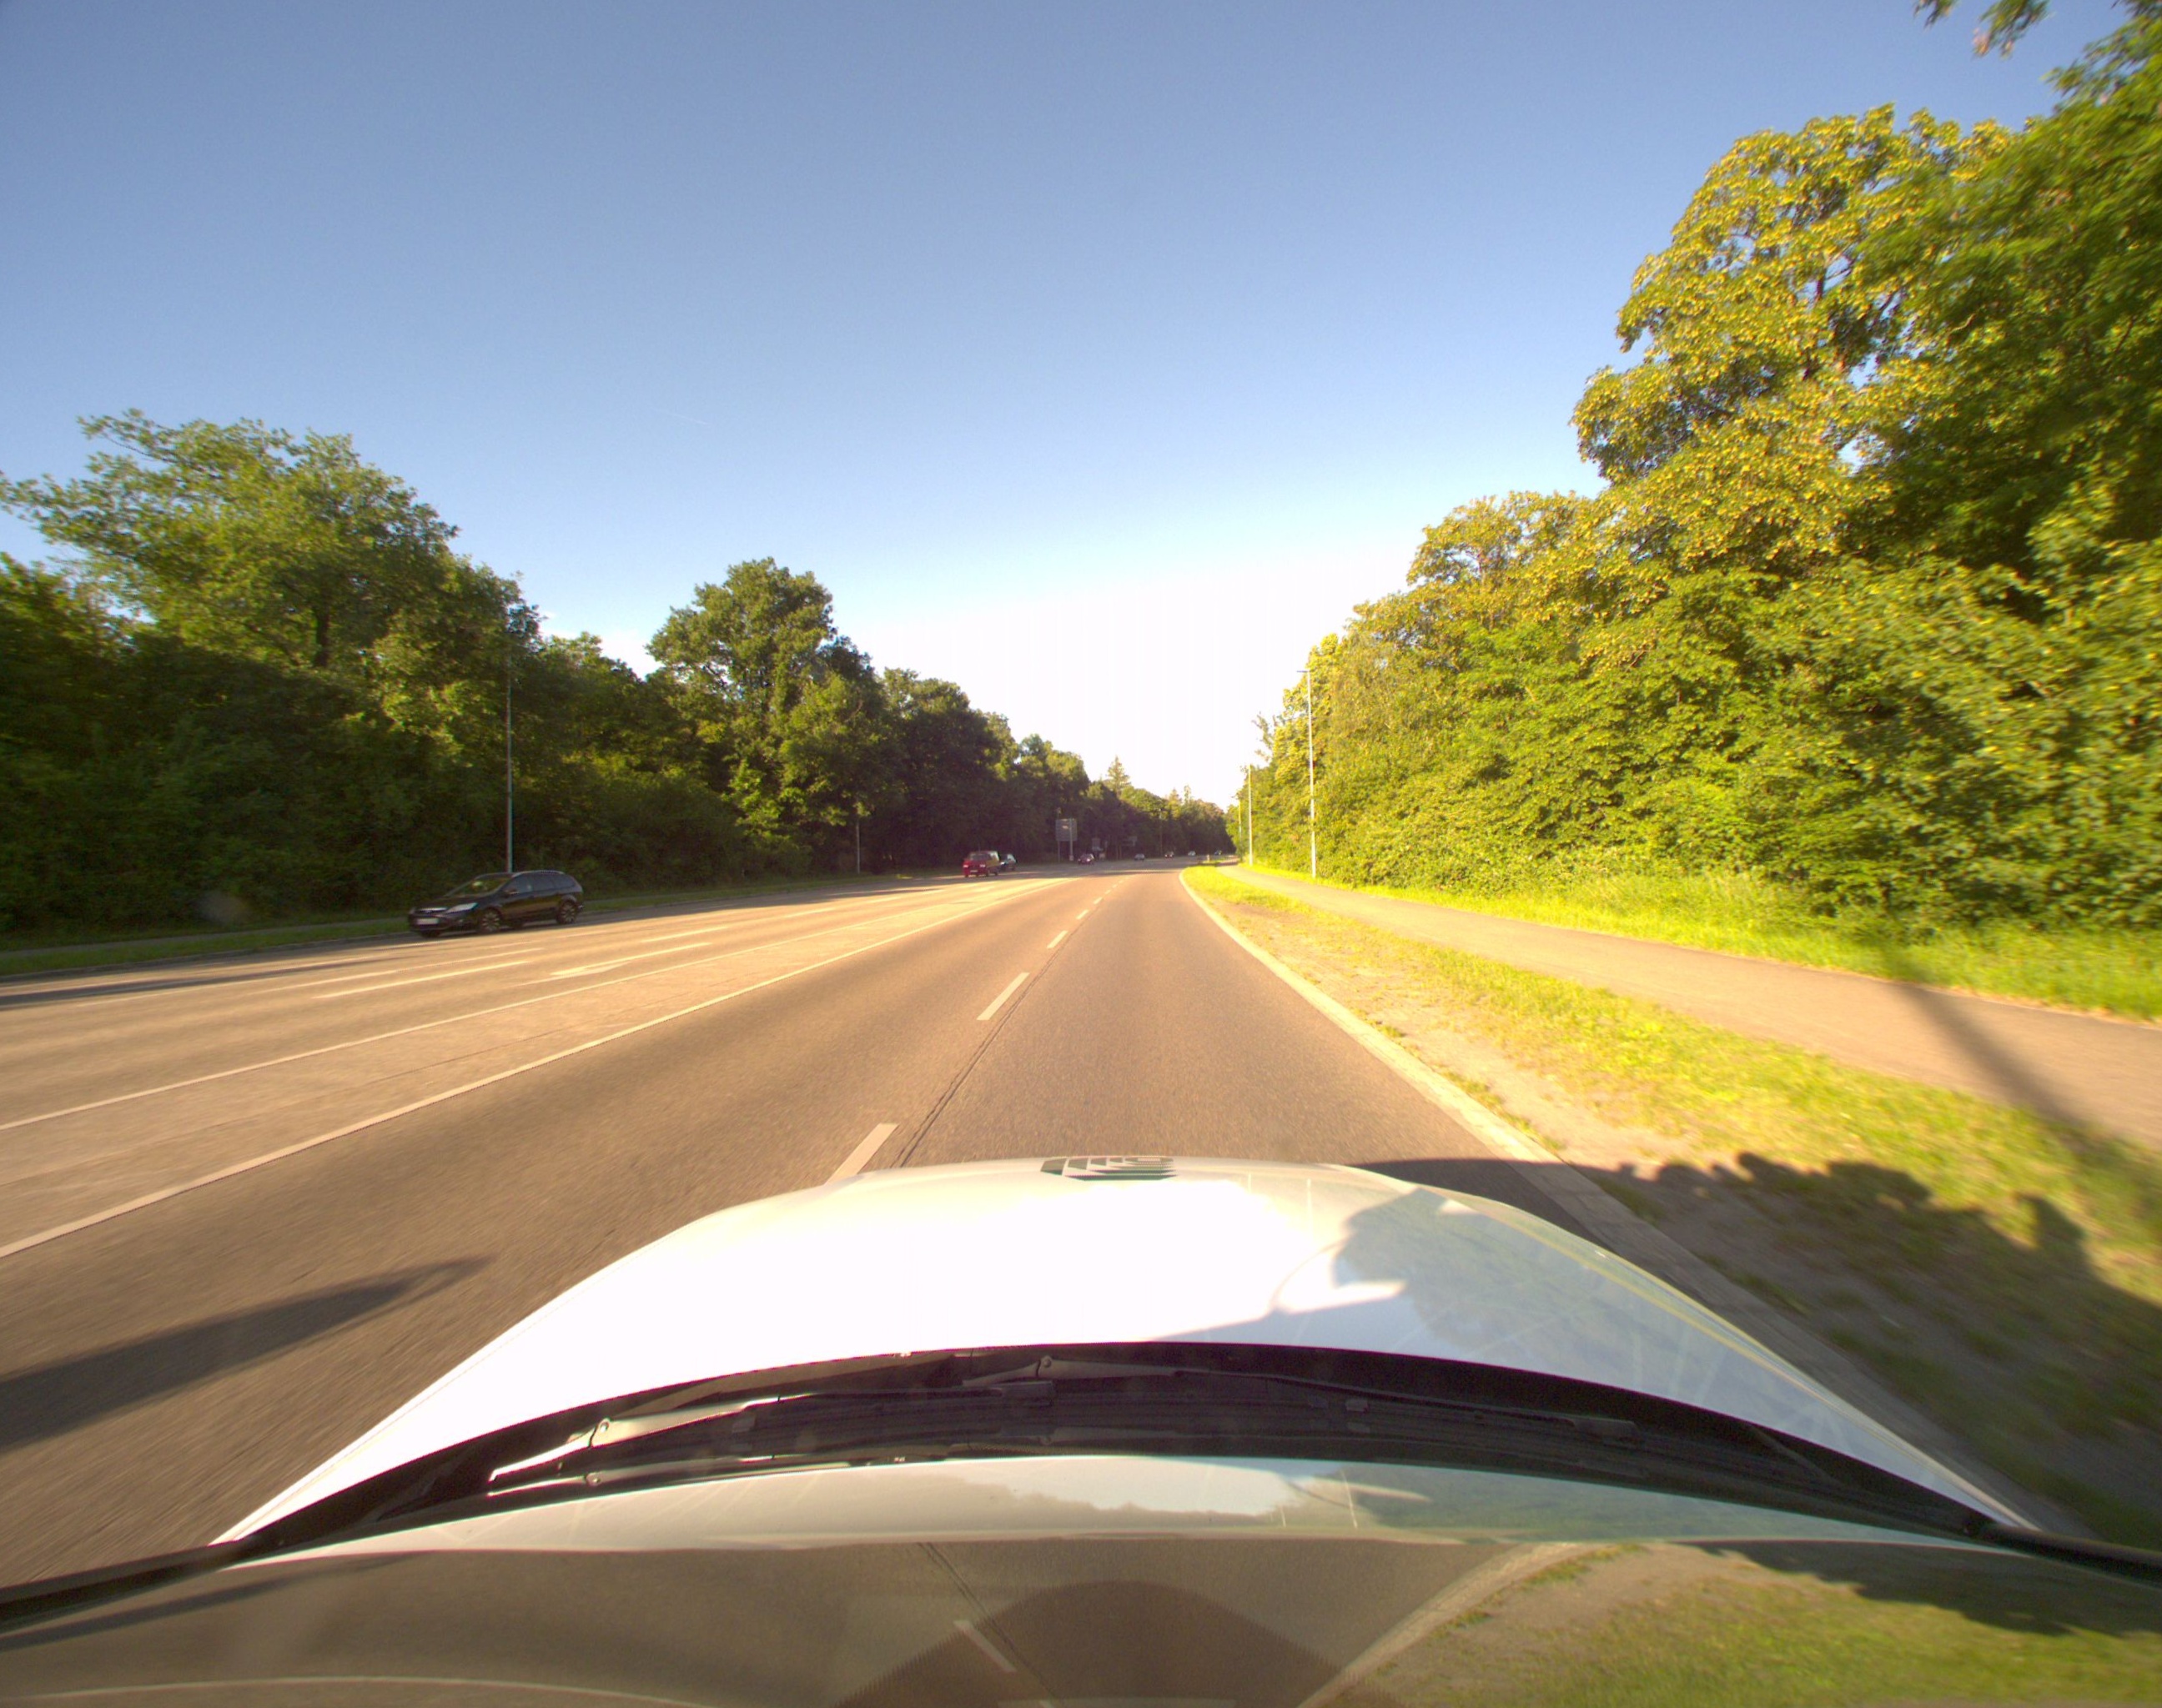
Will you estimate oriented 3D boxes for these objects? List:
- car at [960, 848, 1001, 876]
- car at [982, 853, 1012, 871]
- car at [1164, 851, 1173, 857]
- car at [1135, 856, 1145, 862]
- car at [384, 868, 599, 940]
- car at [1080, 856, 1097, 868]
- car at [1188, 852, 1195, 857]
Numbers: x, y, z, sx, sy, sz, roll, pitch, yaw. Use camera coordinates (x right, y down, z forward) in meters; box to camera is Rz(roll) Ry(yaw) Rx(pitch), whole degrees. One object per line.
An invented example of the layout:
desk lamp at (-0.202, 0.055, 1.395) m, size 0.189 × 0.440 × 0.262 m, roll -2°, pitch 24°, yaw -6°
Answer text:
car at (-7.515, 0.603, 61.395) m, size 1.984 × 1.962 × 4.654 m, roll -3°, pitch 0°, yaw 5°
car at (-8.215, 0.788, 79.696) m, size 1.984 × 1.637 × 4.851 m, roll -1°, pitch 0°, yaw 5°
car at (22.798, 0.028, 211.518) m, size 1.812 × 1.544 × 4.272 m, roll -1°, pitch 0°, yaw 14°
car at (11.567, 0.961, 159.877) m, size 1.734 × 1.234 × 4.683 m, roll -1°, pitch 0°, yaw 7°
car at (-15.339, 1.216, 21.592) m, size 1.984 × 1.564 × 4.654 m, roll -3°, pitch 0°, yaw 5°
car at (1.099, 1.161, 115.346) m, size 1.983 × 1.564 × 4.347 m, roll -1°, pitch 0°, yaw 7°
car at (34.074, 0.286, 251.043) m, size 1.812 × 1.504 × 4.321 m, roll -1°, pitch 0°, yaw 12°
